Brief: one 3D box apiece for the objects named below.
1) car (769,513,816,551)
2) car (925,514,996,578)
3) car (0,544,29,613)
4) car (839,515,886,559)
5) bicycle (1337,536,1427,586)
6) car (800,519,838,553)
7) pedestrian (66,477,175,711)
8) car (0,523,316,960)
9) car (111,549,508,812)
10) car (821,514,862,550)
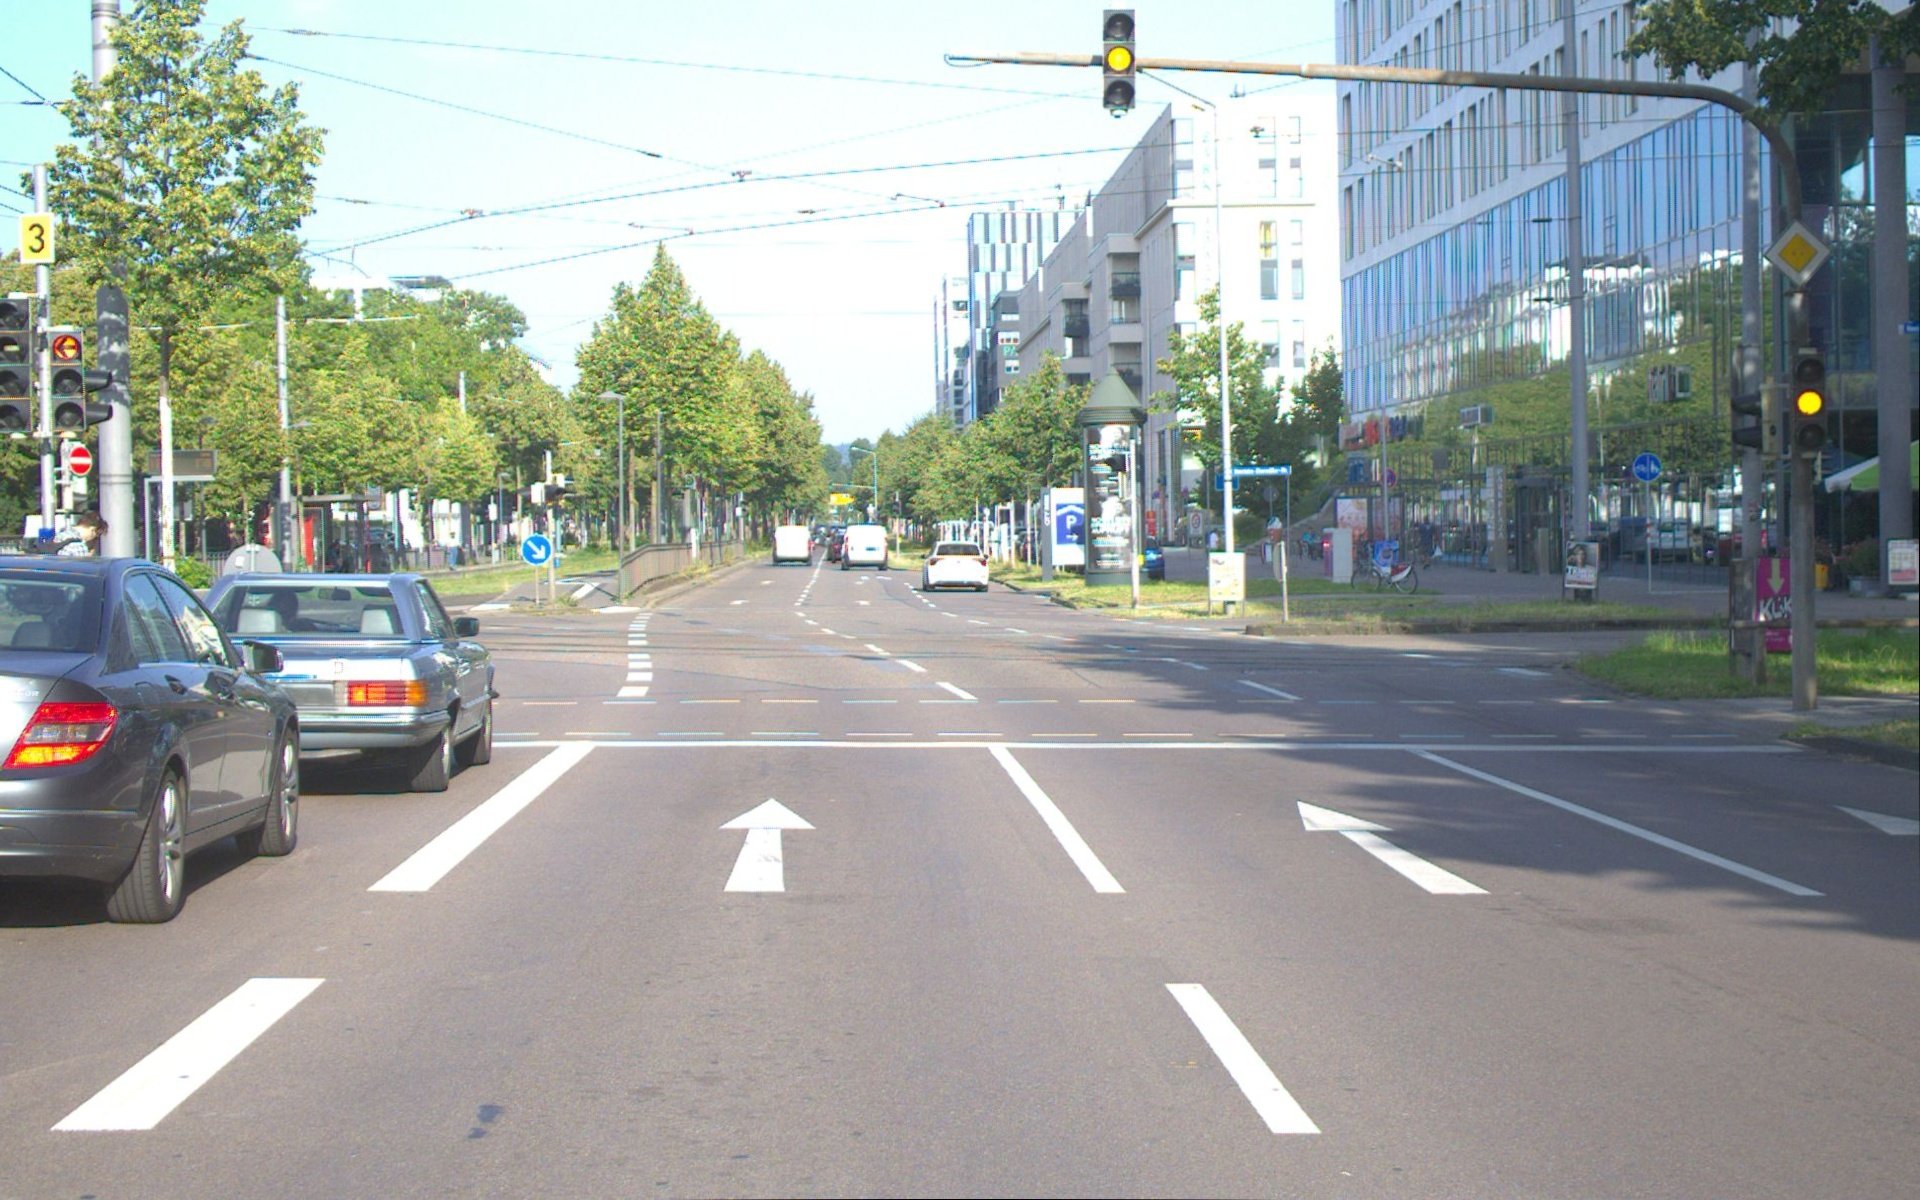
[{"bbox_3d":[-7.678,-3.128,157.706,2.014,1.678,4.001,1,2,-1],"label":"car"},{"bbox_3d":[-0.001,-1.525,96.072,1.864,1.678,4.001,1,2,-1],"label":"car"},{"bbox_3d":[-21.991,-0.439,75.651,1.993,1.499,4.093,-2,0,-2],"label":"car"},{"bbox_3d":[-3.949,-2.585,140.329,1.864,1.678,4.001,1,2,-1],"label":"car"},{"bbox_3d":[9.264,-0.864,75.544,1.877,1.028,0.771,4,4,45],"label":"bicycle"},{"bbox_3d":[-7.483,-3.396,181.694,1.923,1.678,4.001,1,2,-3],"label":"car"},{"bbox_3d":[-6.518,-0.054,26.713,0.699,1.786,0.635,1,1,-1],"label":"pedestrian"},{"bbox_3d":[-3.924,0.449,14.245,1.786,1.473,4.354,1,2,-2],"label":"car"},{"bbox_3d":[-3.824,0.406,20.877,1.763,1.325,4.401,1,2,-3],"label":"car"},{"bbox_3d":[-5.774,-3.316,167.278,1.924,1.678,4.001,1,2,-1],"label":"car"}]
